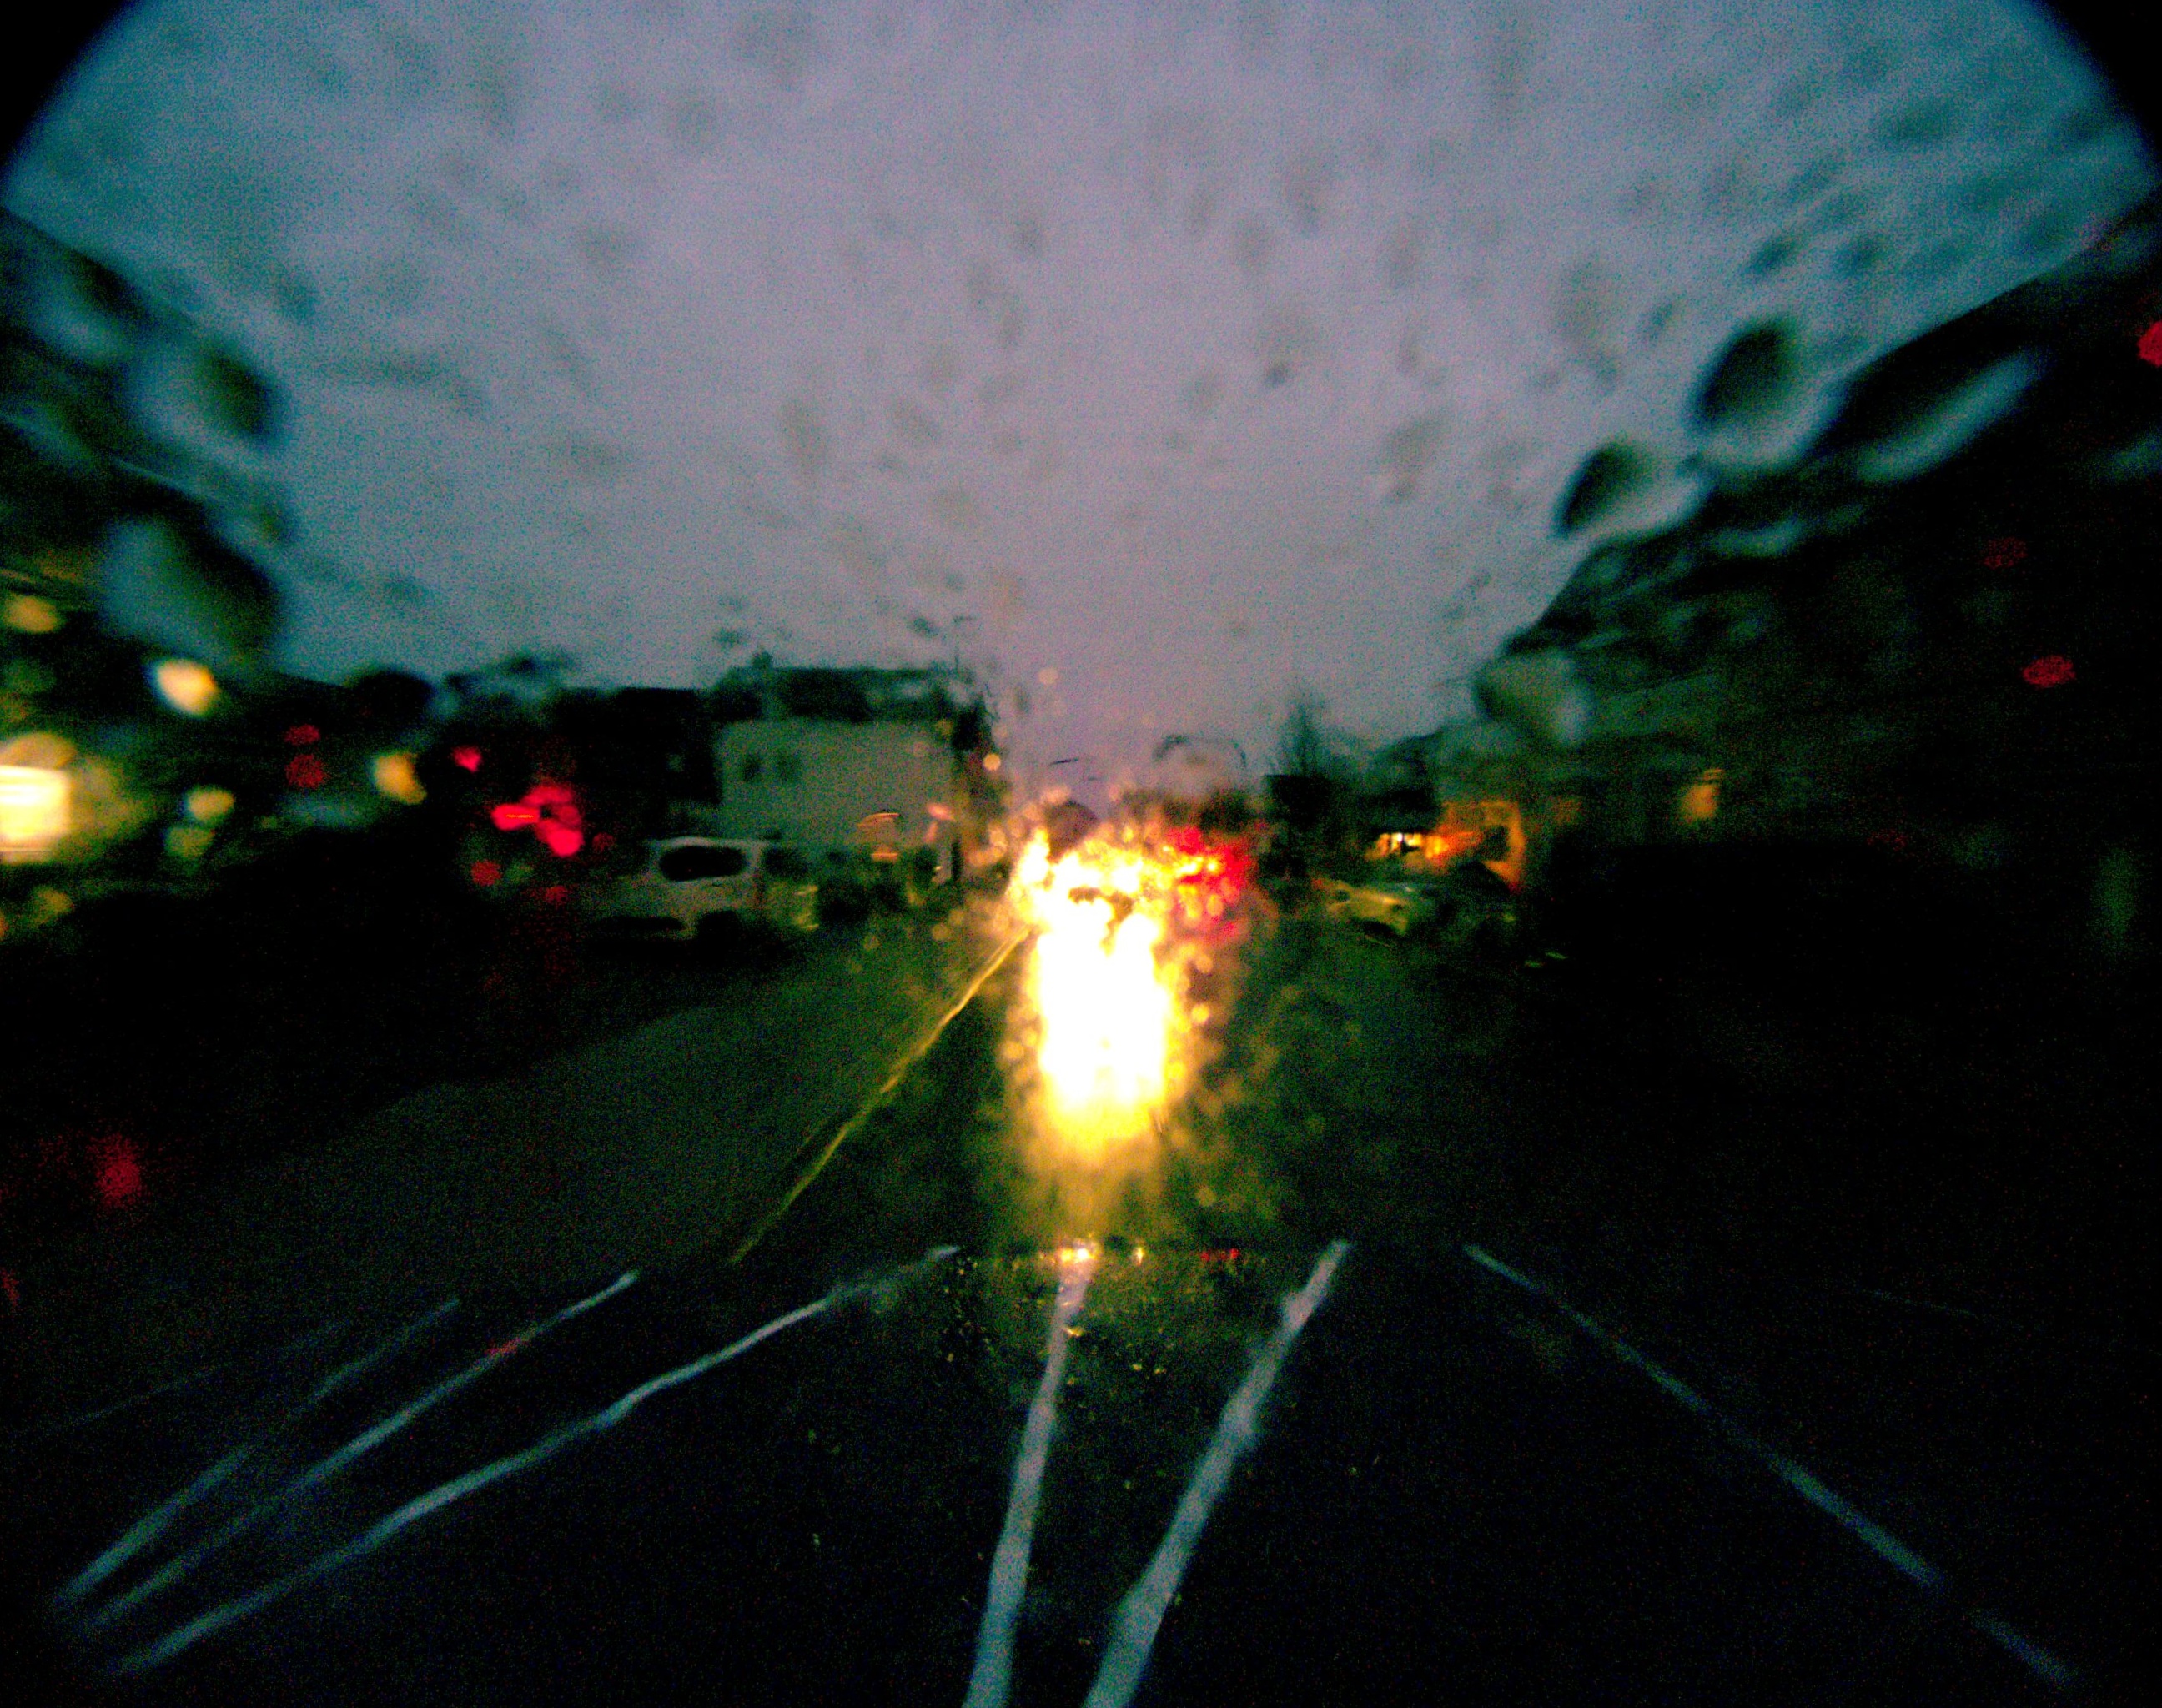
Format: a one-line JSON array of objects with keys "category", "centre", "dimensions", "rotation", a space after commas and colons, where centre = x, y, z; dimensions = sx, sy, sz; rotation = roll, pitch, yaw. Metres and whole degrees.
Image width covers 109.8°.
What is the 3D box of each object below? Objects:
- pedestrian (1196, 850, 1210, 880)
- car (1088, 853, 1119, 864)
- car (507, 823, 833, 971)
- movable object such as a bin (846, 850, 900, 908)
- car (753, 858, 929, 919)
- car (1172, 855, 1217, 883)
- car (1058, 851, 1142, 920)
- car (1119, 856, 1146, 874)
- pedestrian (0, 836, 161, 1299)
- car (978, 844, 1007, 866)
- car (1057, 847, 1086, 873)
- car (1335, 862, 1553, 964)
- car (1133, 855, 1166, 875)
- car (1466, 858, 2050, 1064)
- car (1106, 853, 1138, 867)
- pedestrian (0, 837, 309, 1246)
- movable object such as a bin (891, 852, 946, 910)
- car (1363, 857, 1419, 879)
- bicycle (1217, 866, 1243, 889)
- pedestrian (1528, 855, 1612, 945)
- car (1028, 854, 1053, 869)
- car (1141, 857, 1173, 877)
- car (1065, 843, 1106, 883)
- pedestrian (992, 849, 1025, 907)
[{"category": "pedestrian", "centre": [8.385, 0.760, 52.288], "dimensions": [0.902, 2.002, 0.791], "rotation": [-1, 0, 6]}, {"category": "car", "centre": [2.988, 0.594, 99.504], "dimensions": [3.996, 1.291, 2.000], "rotation": [-2, 0, 2]}, {"category": "car", "centre": [-6.331, 0.601, 11.978], "dimensions": [4.098, 2.037, 2.001], "rotation": [1, 0, 7]}, {"category": "movable object such as a bin", "centre": [-6.166, 0.729, 22.580], "dimensions": [1.289, 1.634, 1.185], "rotation": [2, 0, -4]}, {"category": "car", "centre": [-6.216, 0.871, 20.044], "dimensions": [3.996, 1.478, 1.912], "rotation": [0, 1, 2]}, {"category": "car", "centre": [6.615, 0.867, 44.781], "dimensions": [1.789, 1.480, 4.181], "rotation": [-2, 1, -3]}, {"category": "car", "centre": [0.438, 0.813, 21.713], "dimensions": [1.999, 1.720, 3.998], "rotation": [-2, 0, -3]}, {"category": "car", "centre": [4.650, 0.985, 69.027], "dimensions": [1.840, 1.526, 4.137], "rotation": [-2, 0, -3]}, {"category": "pedestrian", "centre": [-4.353, 0.775, 2.846], "dimensions": [0.837, 1.695, 0.846], "rotation": [1, 1, 11]}, {"category": "car", "centre": [-6.606, 0.038, 57.082], "dimensions": [1.935, 1.477, 4.694], "rotation": [-2, 1, -4]}, {"category": "car", "centre": [-0.755, 0.465, 57.750], "dimensions": [1.999, 1.844, 3.998], "rotation": [-2, 0, -3]}, {"category": "car", "centre": [6.785, 1.002, 14.884], "dimensions": [1.999, 1.549, 4.620], "rotation": [-2, 0, 0]}, {"category": "car", "centre": [5.513, 0.852, 61.499], "dimensions": [1.881, 1.526, 3.669], "rotation": [-2, 0, -8]}, {"category": "car", "centre": [6.544, 0.849, 8.409], "dimensions": [1.999, 1.513, 4.977], "rotation": [-1, 0, -1]}, {"category": "car", "centre": [5.124, 0.739, 94.032], "dimensions": [3.840, 1.537, 2.000], "rotation": [-2, 1, 4]}, {"category": "pedestrian", "centre": [-4.474, 0.777, 3.601], "dimensions": [0.705, 1.695, 0.914], "rotation": [1, 1, -3]}, {"category": "movable object such as a bin", "centre": [-4.797, 0.780, 22.575], "dimensions": [1.397, 1.634, 1.261], "rotation": [1, 0, -3]}, {"category": "car", "centre": [23.179, 1.000, 56.978], "dimensions": [2.000, 1.554, 3.996], "rotation": [0, 0, -11]}, {"category": "bicycle", "centre": [6.969, 1.104, 35.573], "dimensions": [0.325, 1.055, 1.742], "rotation": [4, -3, -17]}, {"category": "pedestrian", "centre": [9.460, 0.864, 14.750], "dimensions": [0.829, 1.649, 1.097], "rotation": [-2, 1, -6]}, {"category": "car", "centre": [-4.302, 0.780, 79.423], "dimensions": [2.000, 1.506, 3.996], "rotation": [-2, 0, -12]}, {"category": "car", "centre": [5.587, 0.928, 56.108], "dimensions": [1.699, 1.423, 4.376], "rotation": [-2, 0, -3]}, {"category": "car", "centre": [0.194, 0.463, 41.673], "dimensions": [1.999, 2.002, 3.999], "rotation": [-2, 0, -2]}, {"category": "pedestrian", "centre": [-2.426, 0.775, 25.546], "dimensions": [0.969, 1.878, 1.005], "rotation": [-2, 1, -3]}]
